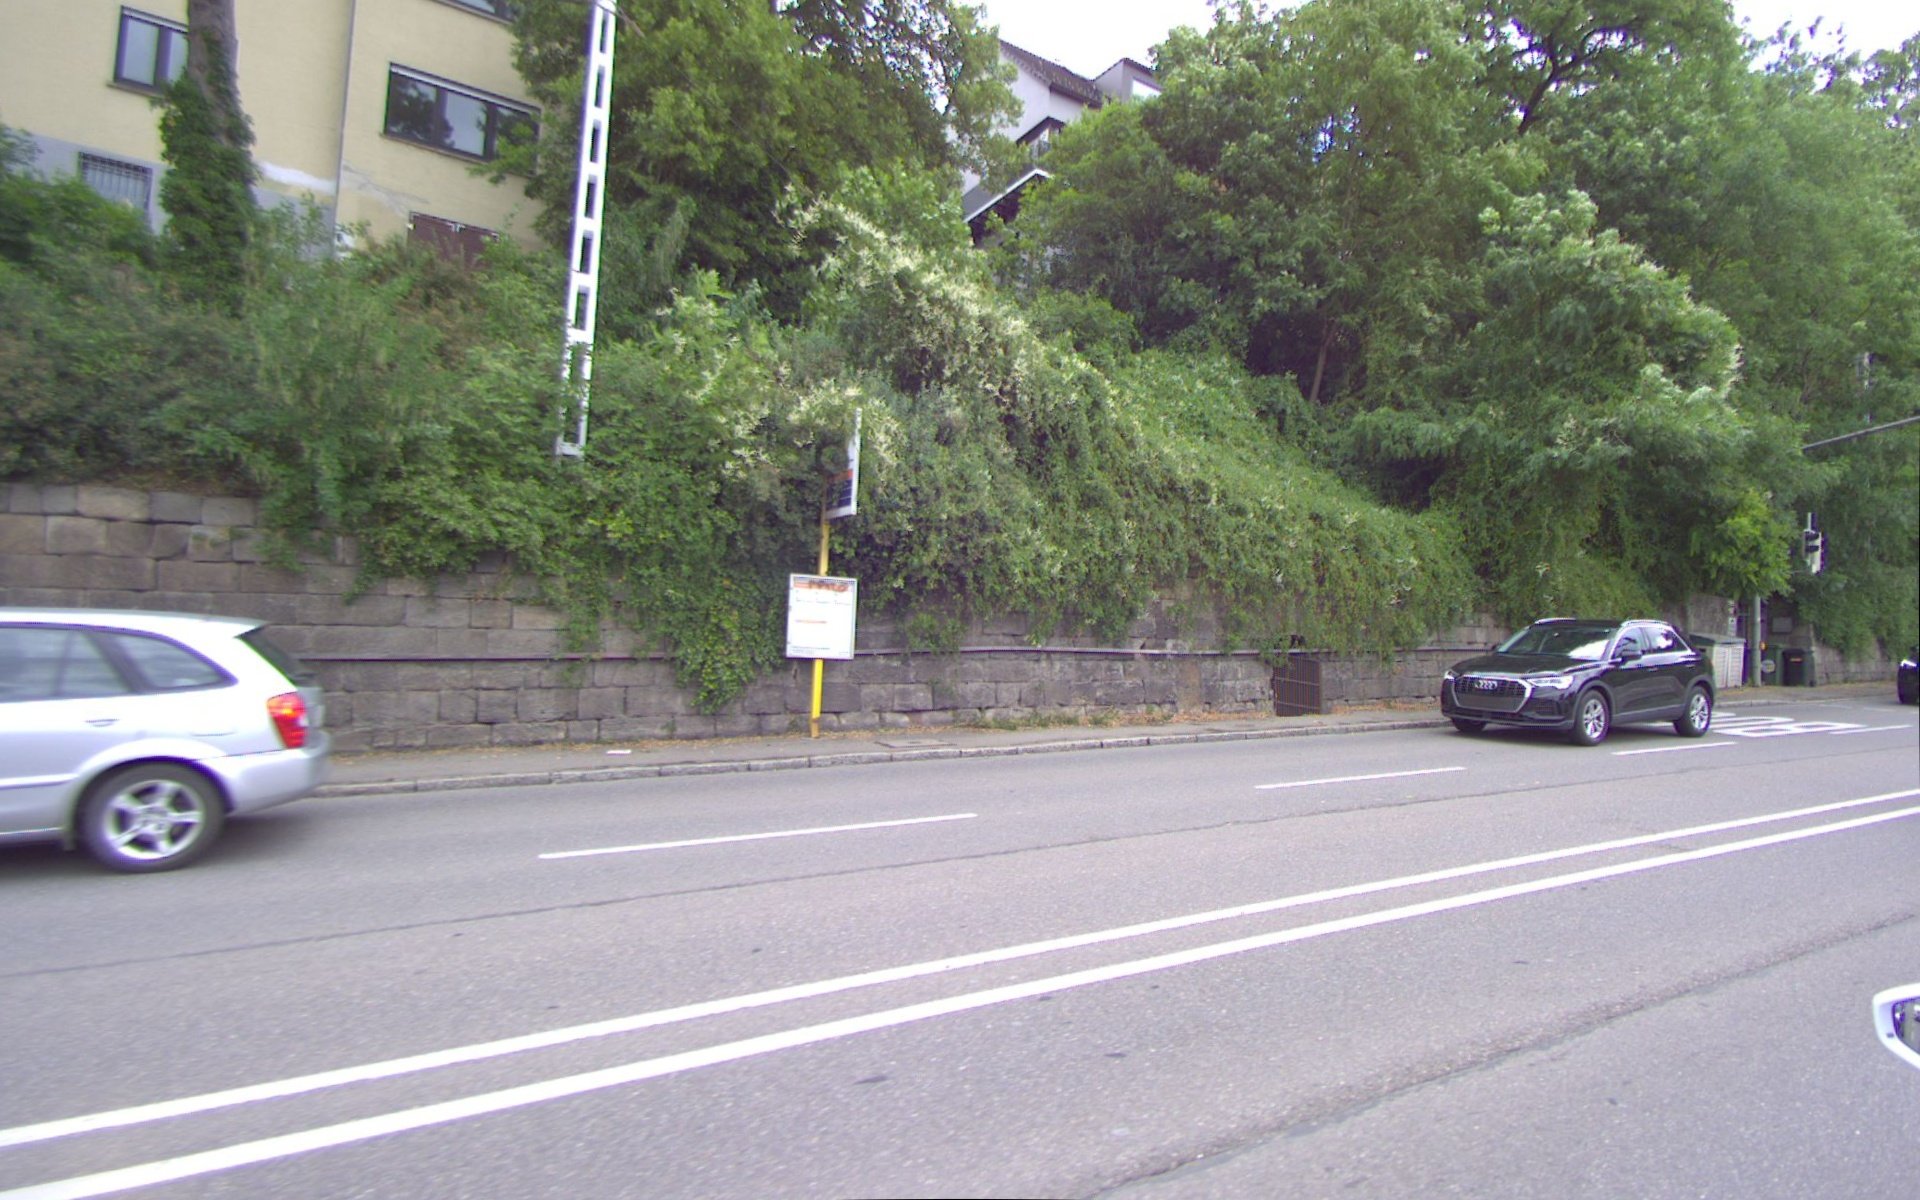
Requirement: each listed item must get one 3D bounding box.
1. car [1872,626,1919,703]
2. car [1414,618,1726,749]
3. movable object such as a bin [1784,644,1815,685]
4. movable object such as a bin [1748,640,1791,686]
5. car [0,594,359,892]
[{"bbox_3d":[20.887,1.336,20.802,4.161,1.502,1.773,1,1,-30],"label":"car"},{"bbox_3d":[8.501,1.088,13.934,4.198,1.569,1.933,2,-2,-30],"label":"car"},{"bbox_3d":[20.404,1.569,24.409,0.473,0.963,0.425,2,1,-31],"label":"movable object such as a bin"},{"bbox_3d":[20.026,1.552,24.860,0.550,1.081,0.638,2,1,-31],"label":"movable object such as a bin"},{"bbox_3d":[-5.745,0.713,5.474,4.183,1.461,1.668,1,1,-30],"label":"car"}]
